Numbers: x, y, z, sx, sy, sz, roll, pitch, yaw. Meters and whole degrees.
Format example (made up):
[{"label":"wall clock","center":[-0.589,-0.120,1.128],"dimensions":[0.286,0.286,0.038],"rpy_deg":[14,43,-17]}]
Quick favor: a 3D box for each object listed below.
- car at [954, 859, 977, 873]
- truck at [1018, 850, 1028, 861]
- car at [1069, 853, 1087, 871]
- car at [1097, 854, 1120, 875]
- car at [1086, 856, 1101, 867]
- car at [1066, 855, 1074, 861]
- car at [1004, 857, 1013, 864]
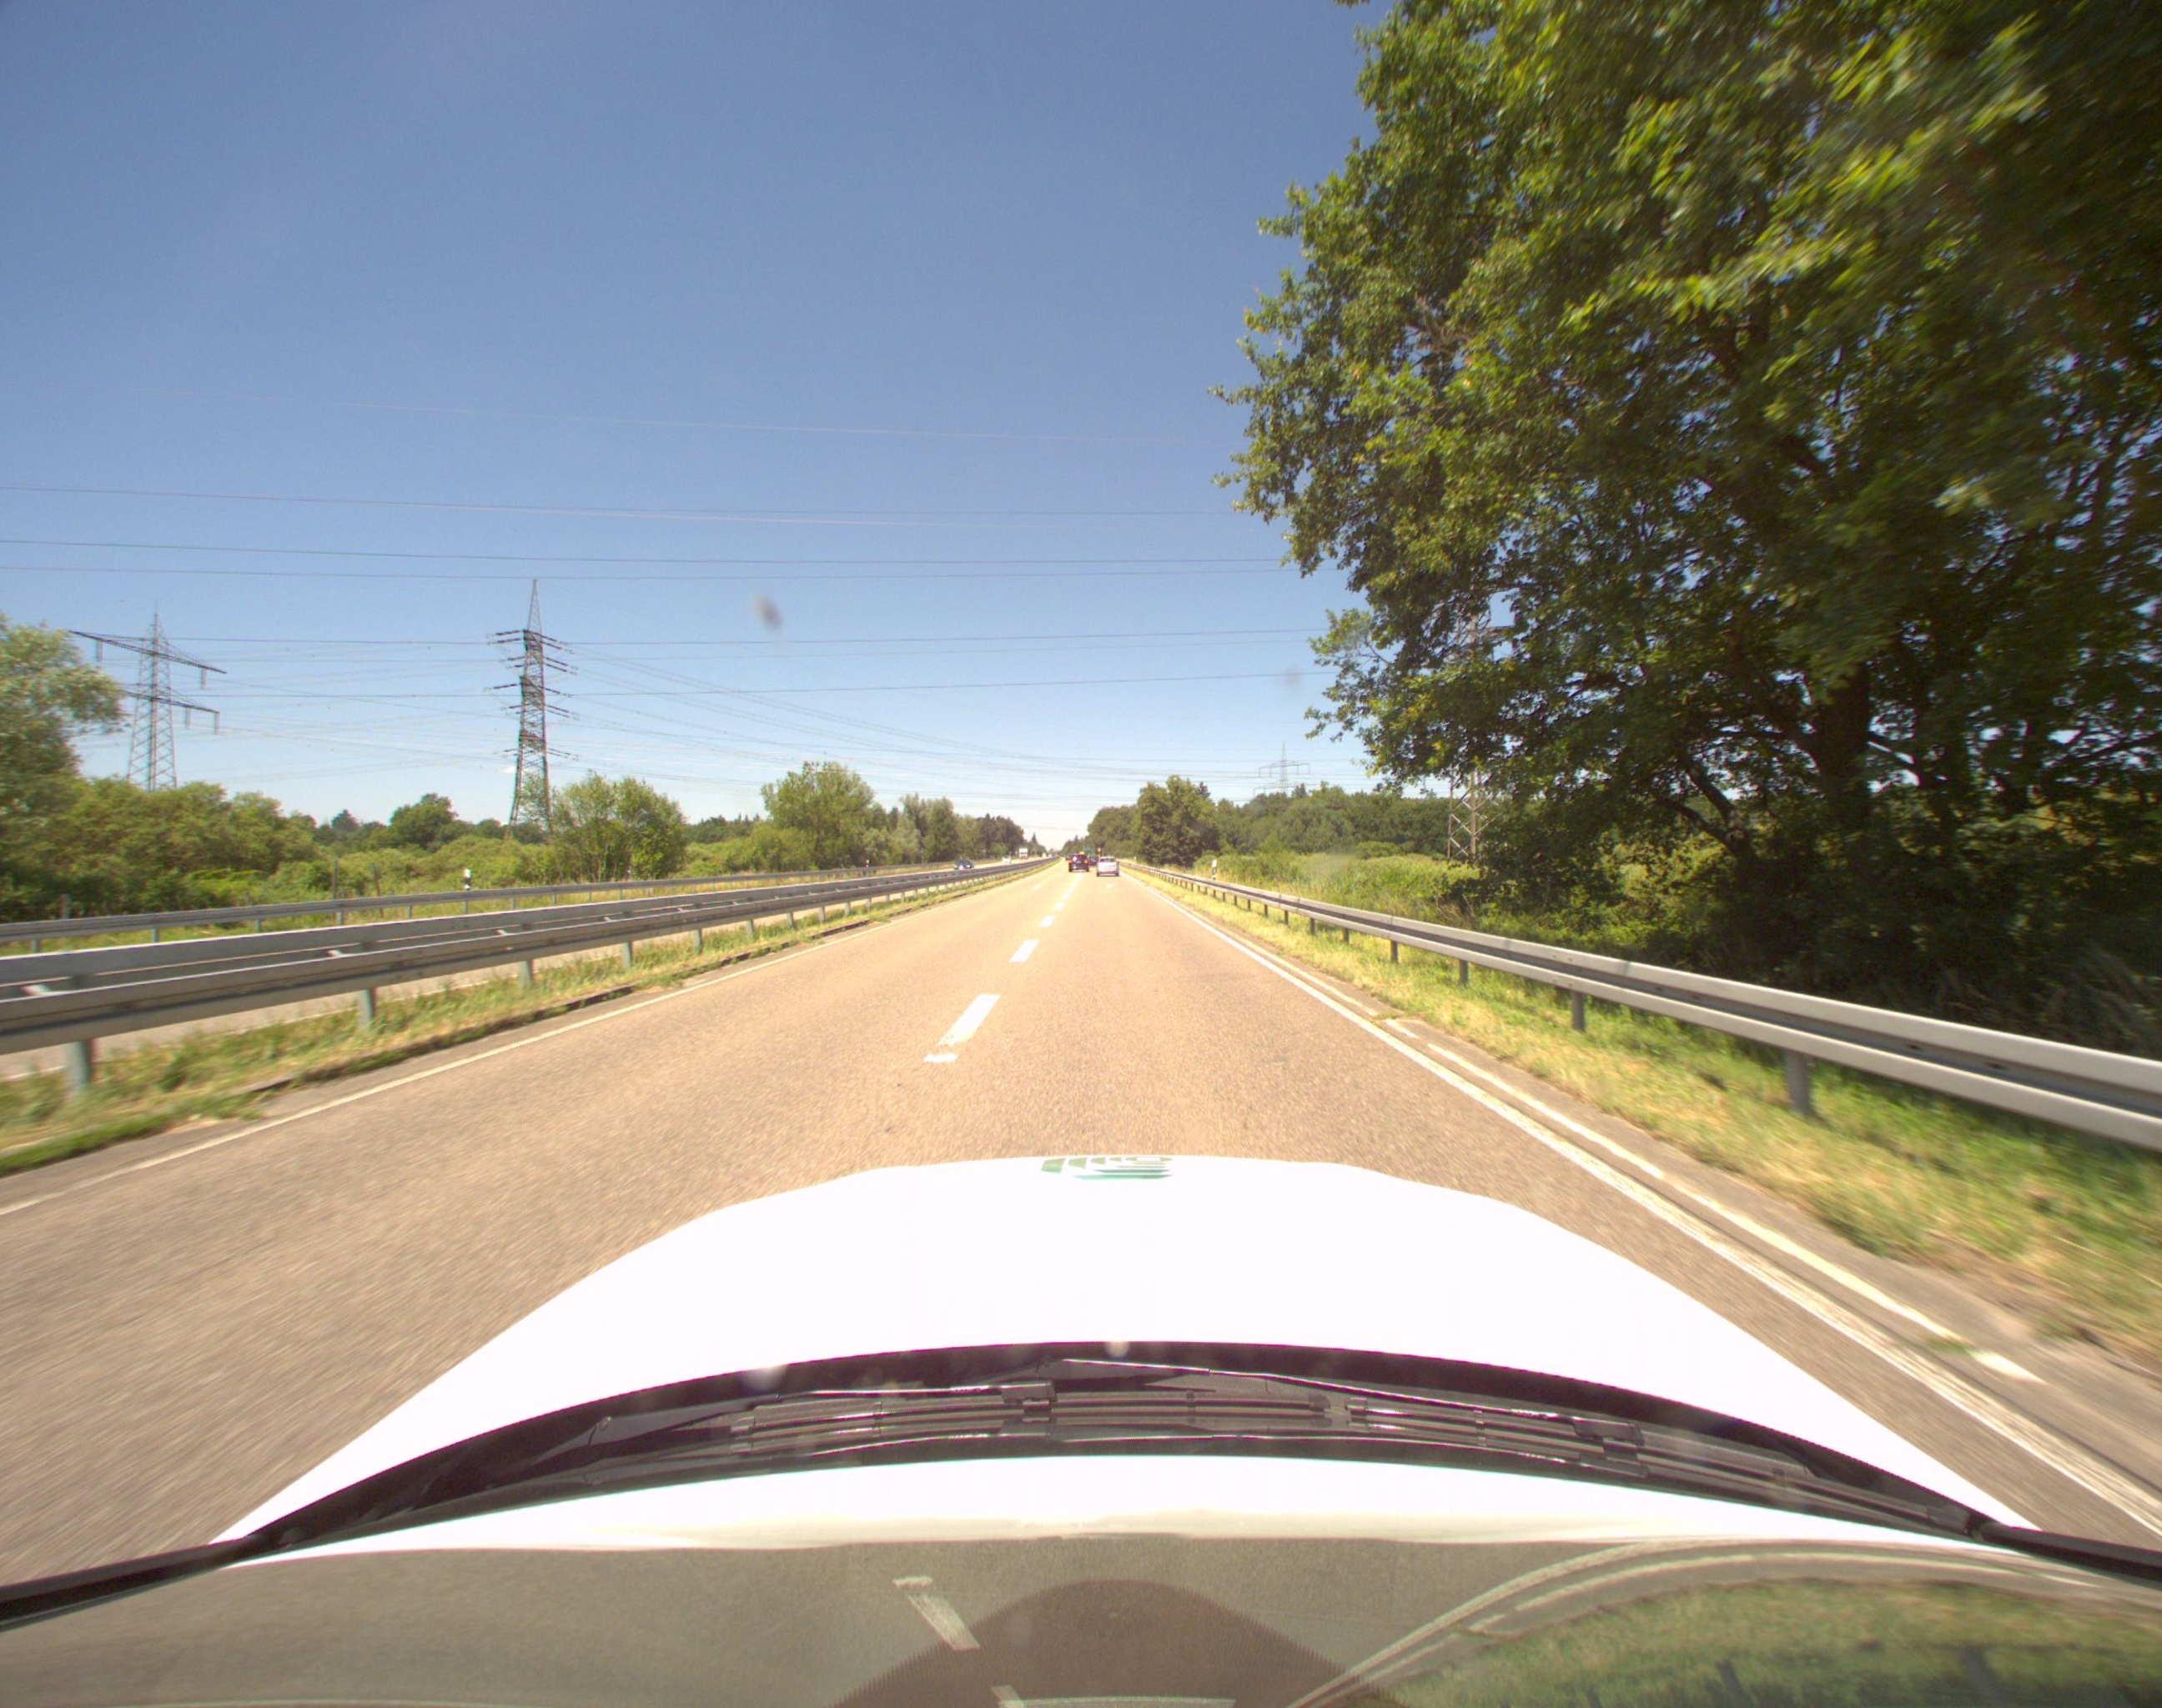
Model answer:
[{"label":"car","center":[-12.342,1.231,87.371],"dimensions":[1.839,1.413,4.680],"rpy_deg":[-1,0,0]},{"label":"truck","center":[-18.063,0.499,253.887],"dimensions":[2.710,3.193,8.402],"rpy_deg":[-1,0,0]},{"label":"car","center":[-0.260,0.750,78.118],"dimensions":[1.635,1.654,3.573],"rpy_deg":[1,0,0]},{"label":"car","center":[2.050,0.788,61.137],"dimensions":[1.635,1.468,3.419],"rpy_deg":[1,0,0]},{"label":"car","center":[1.586,0.921,99.612],"dimensions":[1.633,1.342,3.577],"rpy_deg":[1,0,4]},{"label":"car","center":[-2.666,0.922,194.433],"dimensions":[1.708,1.471,3.572],"rpy_deg":[1,0,-2]},{"label":"car","center":[-15.160,1.395,169.881],"dimensions":[1.528,1.449,3.701],"rpy_deg":[-1,0,0]}]
